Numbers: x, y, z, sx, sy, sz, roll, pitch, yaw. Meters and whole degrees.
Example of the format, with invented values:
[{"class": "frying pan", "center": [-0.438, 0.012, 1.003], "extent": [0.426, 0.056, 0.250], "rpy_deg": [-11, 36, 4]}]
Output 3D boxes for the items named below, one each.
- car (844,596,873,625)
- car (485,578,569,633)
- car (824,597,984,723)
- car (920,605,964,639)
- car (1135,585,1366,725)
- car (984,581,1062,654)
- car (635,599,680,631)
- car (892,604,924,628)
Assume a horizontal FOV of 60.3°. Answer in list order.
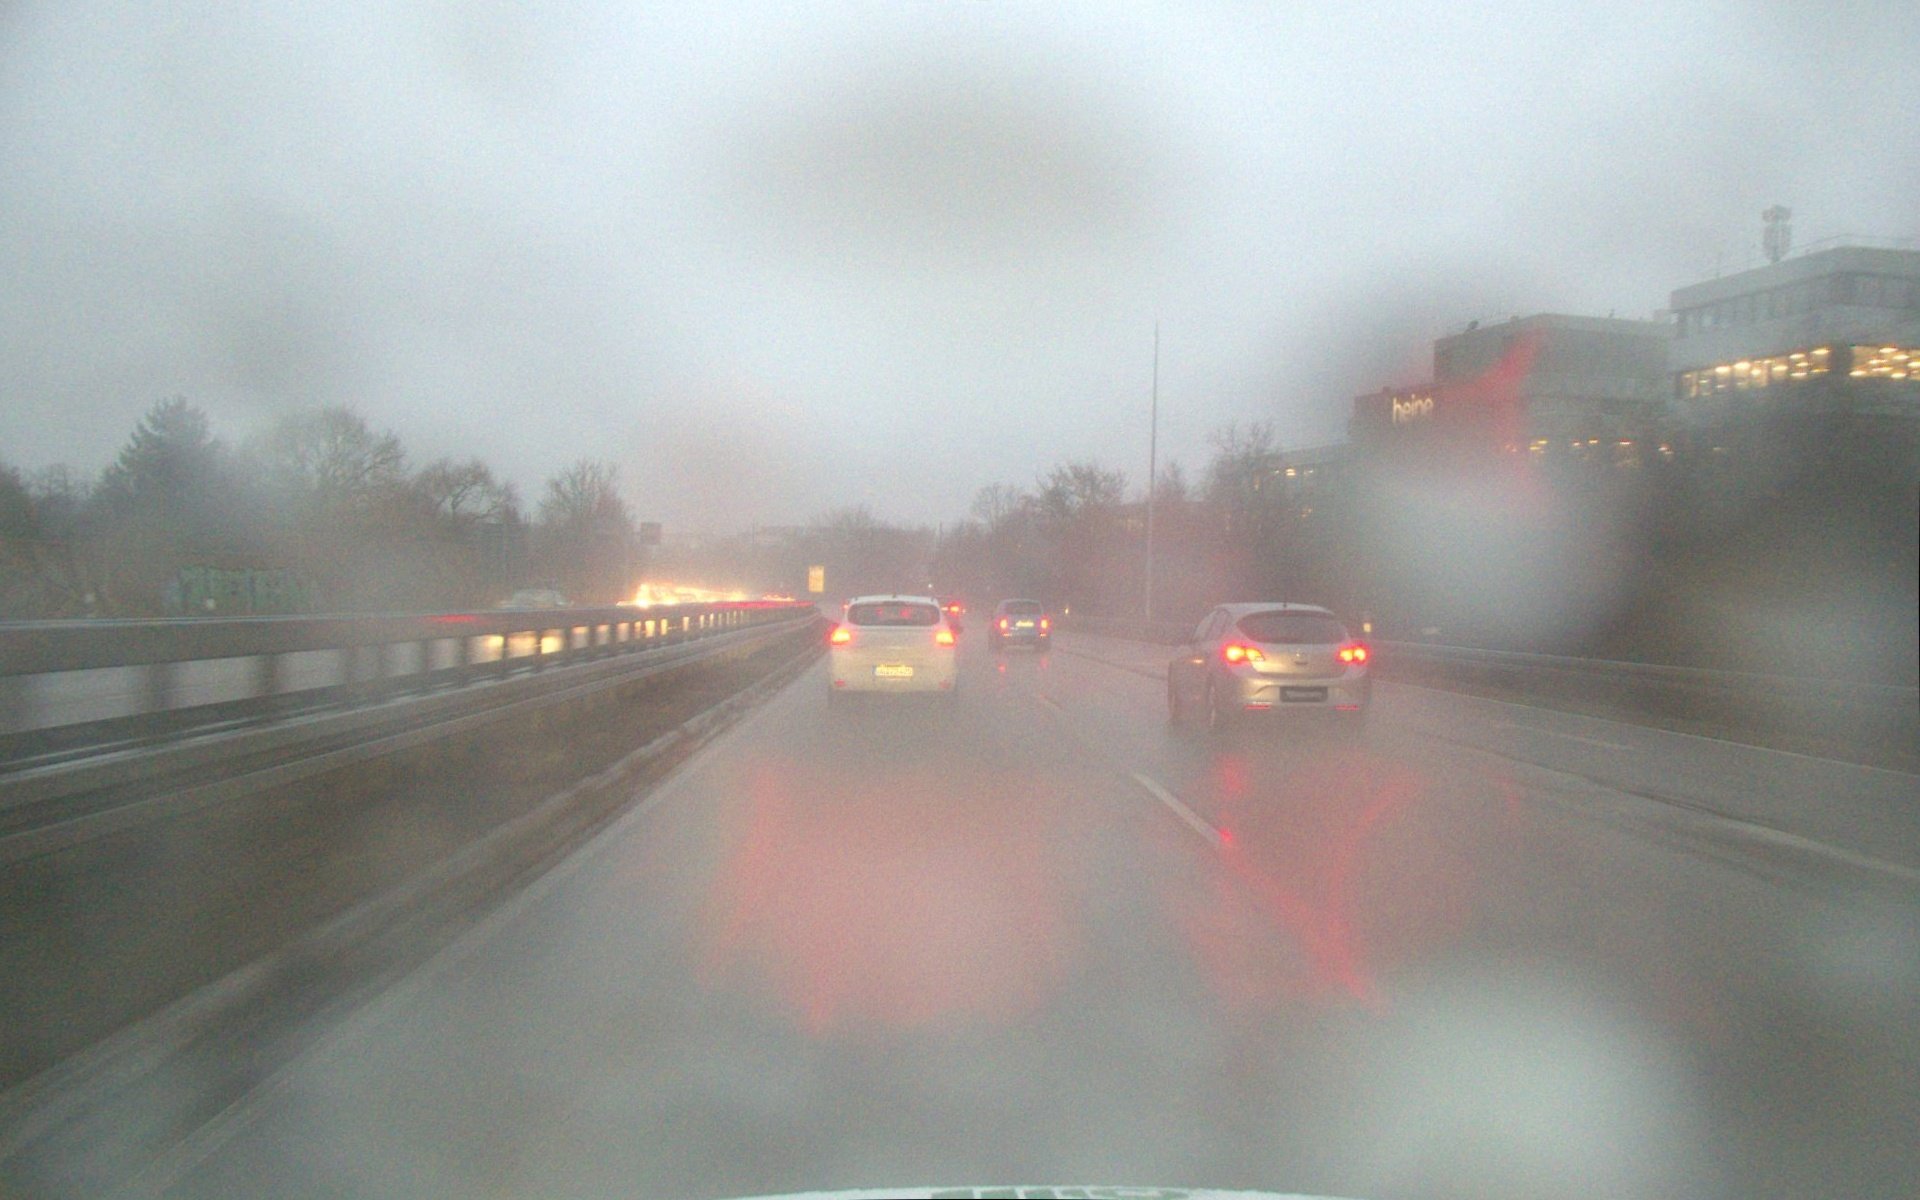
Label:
[{"class": "car", "center": [-7.249, 0.761, 118.435], "extent": [1.953, 2.049, 3.998], "rpy_deg": [1, 0, -2]}, {"class": "car", "center": [-13.752, 0.173, 52.706], "extent": [1.692, 1.635, 4.177], "rpy_deg": [1, 0, -2]}, {"class": "car", "center": [-0.878, 0.783, 23.278], "extent": [1.986, 1.602, 3.995], "rpy_deg": [1, 0, -6]}, {"class": "car", "center": [-0.953, 1.164, 87.644], "extent": [1.896, 1.573, 3.769], "rpy_deg": [-5, 0, -6]}, {"class": "car", "center": [3.429, 0.615, 20.330], "extent": [1.813, 1.528, 4.258], "rpy_deg": [1, 0, -4]}, {"class": "car", "center": [1.824, 0.509, 48.958], "extent": [1.894, 2.055, 3.770], "rpy_deg": [1, 0, -4]}, {"class": "car", "center": [-16.163, 0.803, 88.493], "extent": [1.829, 1.656, 4.775], "rpy_deg": [1, 0, -4]}, {"class": "car", "center": [-3.514, 1.045, 111.061], "extent": [1.895, 1.573, 3.769], "rpy_deg": [1, 0, -5]}]
